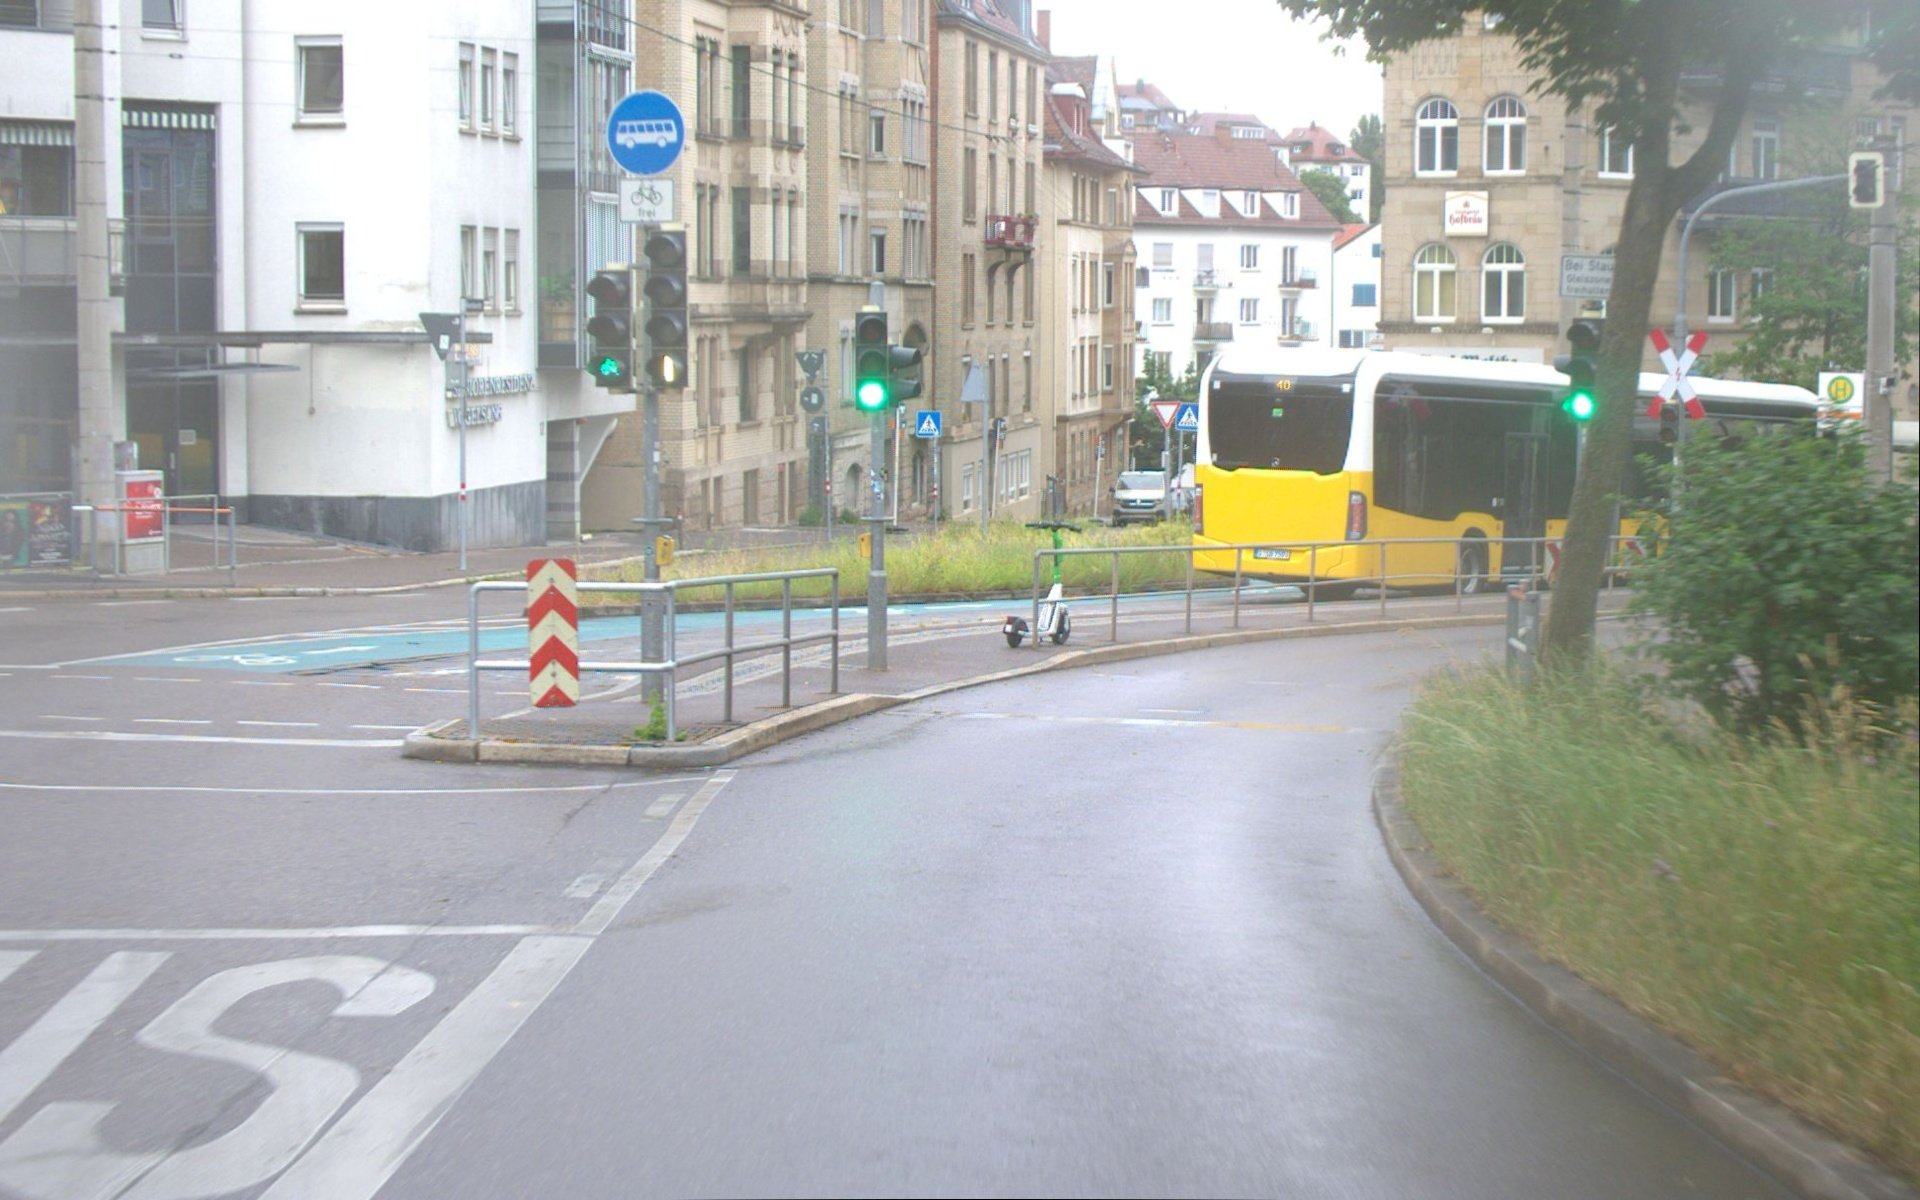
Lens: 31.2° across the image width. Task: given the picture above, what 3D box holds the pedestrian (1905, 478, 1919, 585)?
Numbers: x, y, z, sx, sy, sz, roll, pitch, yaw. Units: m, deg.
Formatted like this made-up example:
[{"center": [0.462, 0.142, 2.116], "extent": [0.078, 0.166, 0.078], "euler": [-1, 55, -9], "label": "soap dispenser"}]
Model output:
[{"center": [15.865, -1.119, 56.288], "extent": [0.577, 1.746, 0.542], "euler": [3, 2, 31], "label": "pedestrian"}]

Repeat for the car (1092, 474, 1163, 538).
[{"center": [5.878, -3.294, 120.994], "extent": [2.137, 2.129, 4.857], "euler": [2, 1, 0], "label": "car"}]

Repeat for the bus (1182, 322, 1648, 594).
[{"center": [6.583, -1.877, 48.231], "extent": [2.596, 3.457, 9.090], "euler": [3, 2, 34], "label": "bus"}]

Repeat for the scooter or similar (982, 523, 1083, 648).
[{"center": [0.685, -0.145, 31.922], "extent": [0.434, 1.109, 1.604], "euler": [3, 2, 18], "label": "scooter or similar"}]
